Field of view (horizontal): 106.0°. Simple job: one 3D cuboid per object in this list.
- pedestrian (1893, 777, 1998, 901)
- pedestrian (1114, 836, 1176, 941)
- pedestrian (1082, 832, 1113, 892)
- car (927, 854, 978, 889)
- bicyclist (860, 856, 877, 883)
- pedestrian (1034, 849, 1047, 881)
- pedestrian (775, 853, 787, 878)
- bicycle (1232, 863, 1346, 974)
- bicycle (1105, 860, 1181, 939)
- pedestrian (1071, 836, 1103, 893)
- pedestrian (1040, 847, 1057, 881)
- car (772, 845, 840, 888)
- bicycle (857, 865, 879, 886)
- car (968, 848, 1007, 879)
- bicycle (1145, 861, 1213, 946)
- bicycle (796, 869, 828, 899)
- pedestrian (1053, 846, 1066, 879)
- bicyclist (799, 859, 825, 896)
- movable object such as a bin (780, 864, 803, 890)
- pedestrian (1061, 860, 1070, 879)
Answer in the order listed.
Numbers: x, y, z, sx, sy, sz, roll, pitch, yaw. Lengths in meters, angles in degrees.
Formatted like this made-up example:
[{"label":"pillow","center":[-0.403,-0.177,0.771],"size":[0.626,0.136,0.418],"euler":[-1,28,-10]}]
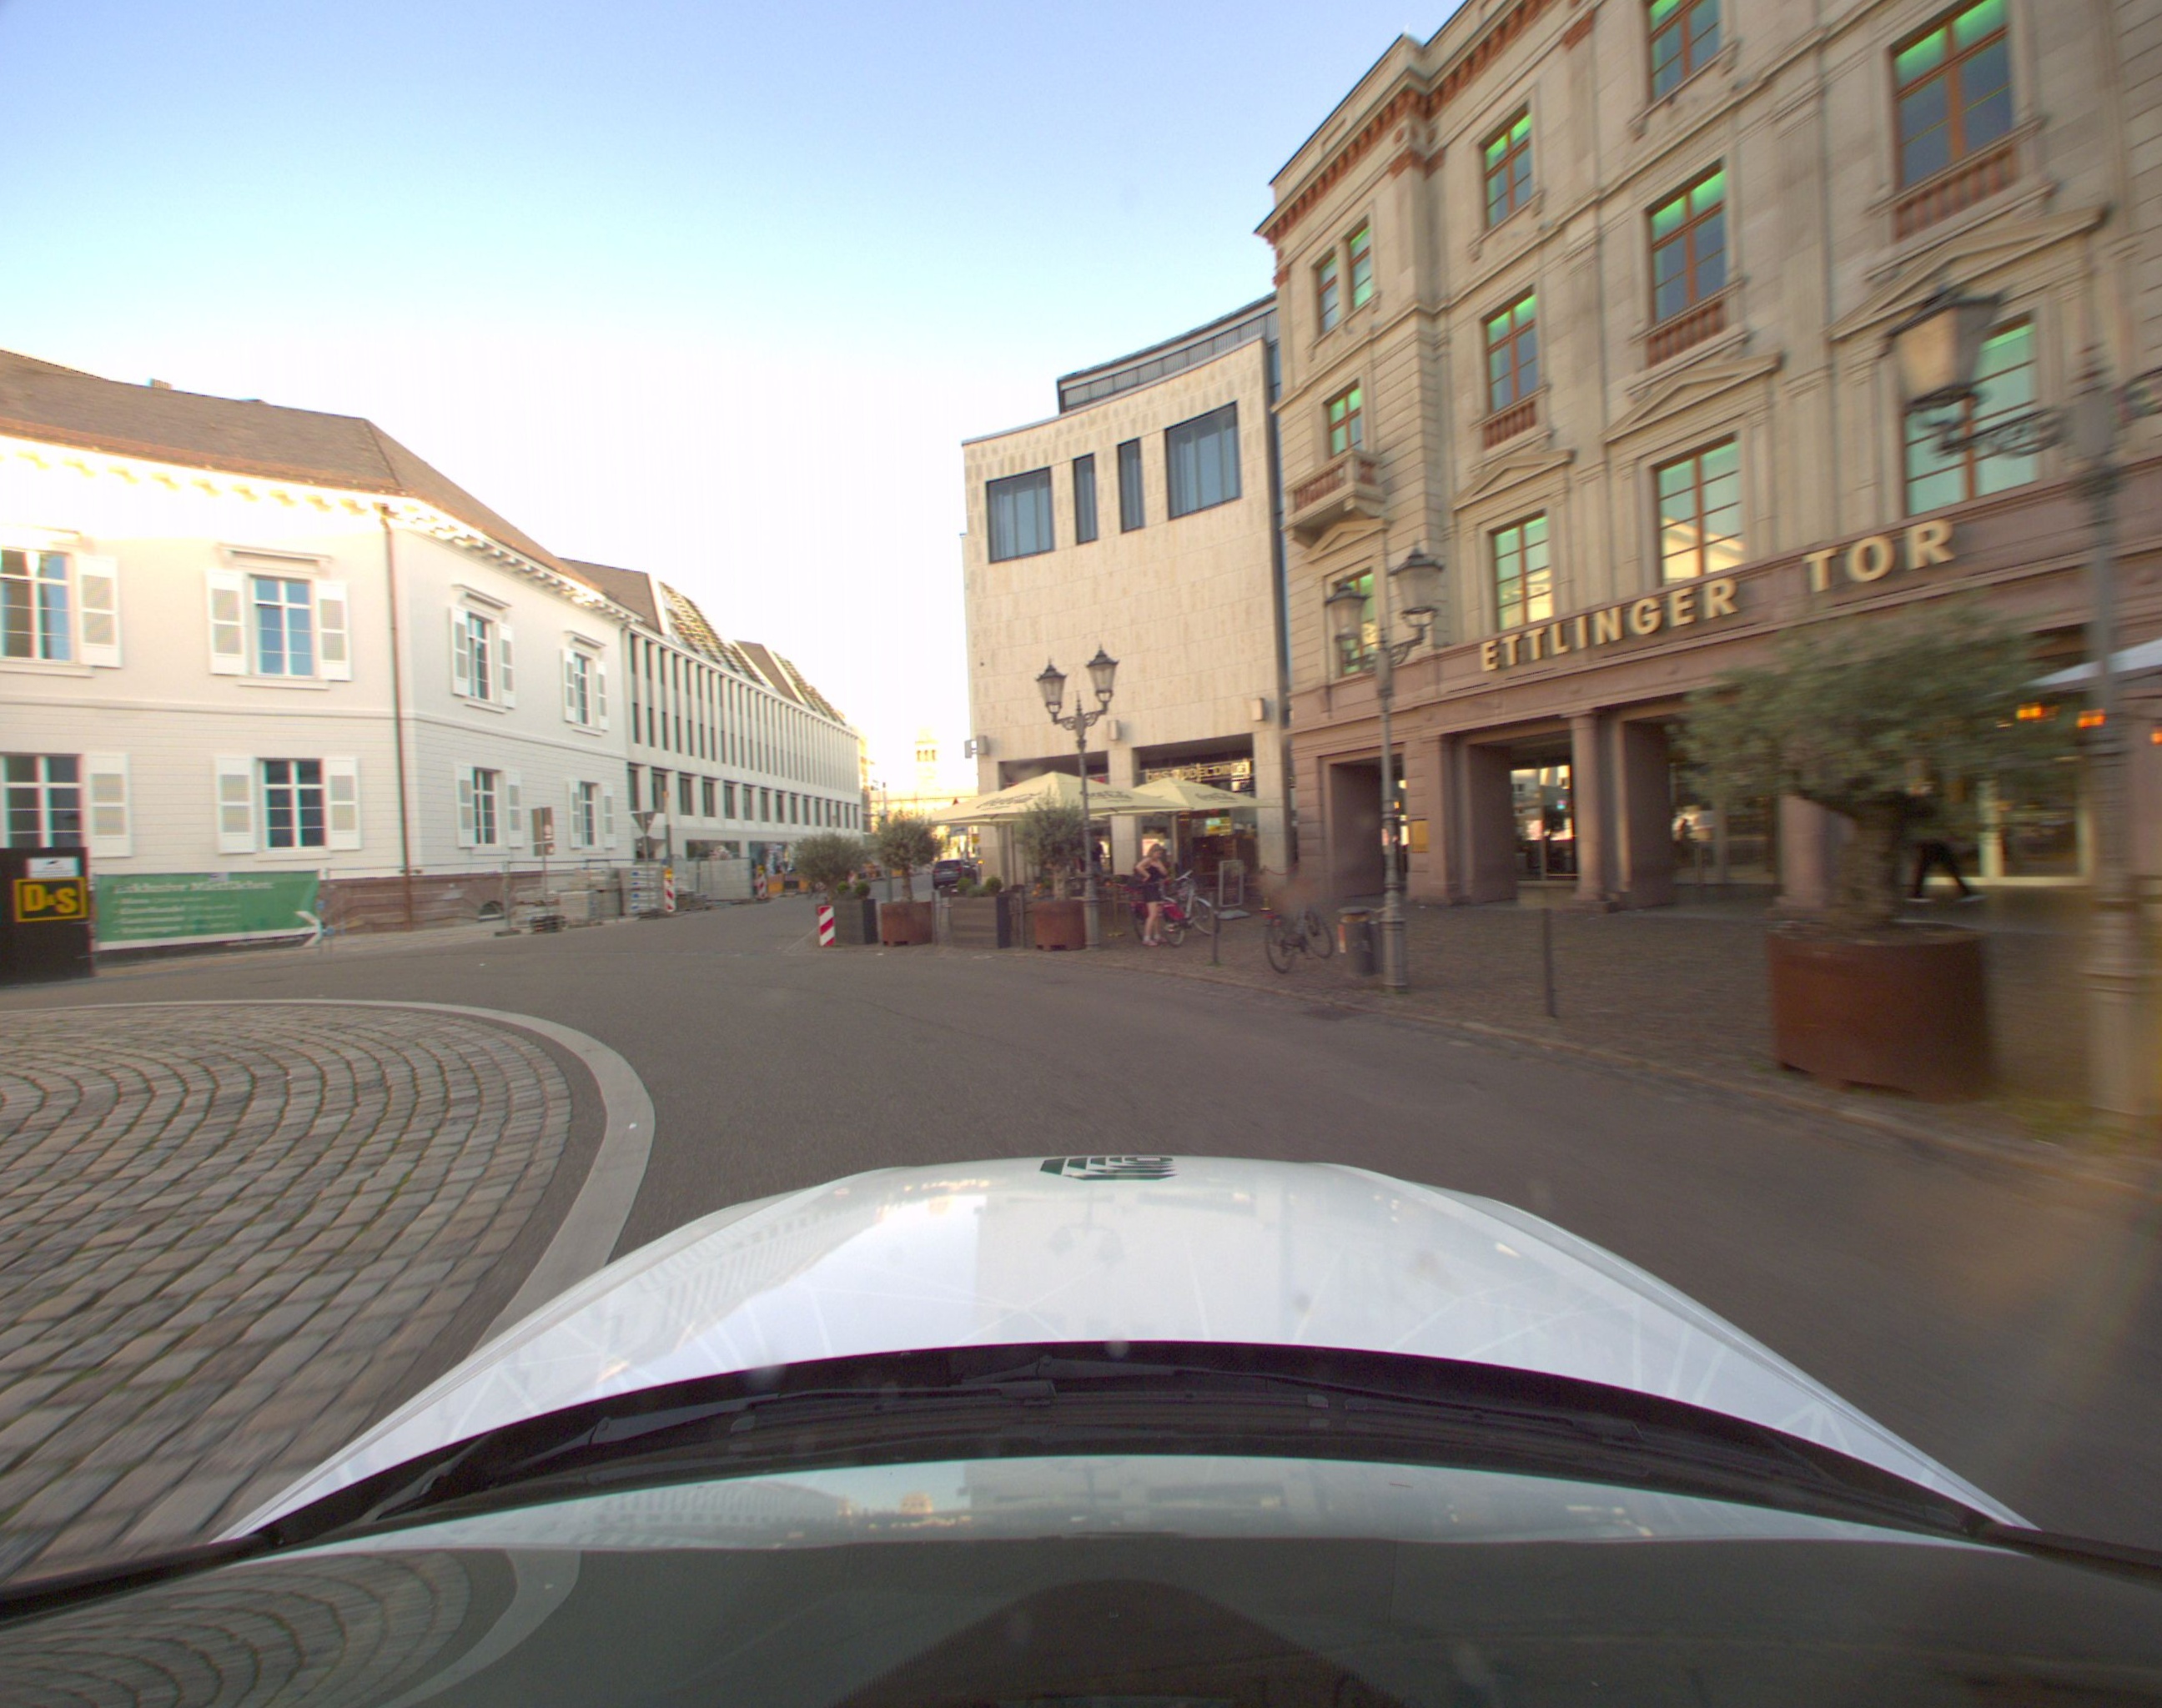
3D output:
[{"label":"pedestrian","center":[12.791,-0.221,12.065],"size":[0.718,1.747,0.864],"euler":[-3,0,-27]},{"label":"pedestrian","center":[1.013,0.528,12.783],"size":[0.741,1.588,0.718],"euler":[-3,0,17]},{"label":"pedestrian","center":[0.522,0.250,26.157],"size":[0.709,1.862,0.673],"euler":[-3,0,23]},{"label":"car","center":[-6.551,0.850,41.930],"size":[1.789,1.490,4.192],"euler":[-6,0,0]},{"label":"bicyclist","center":[-12.920,0.937,49.521],"size":[0.794,1.532,0.973],"euler":[-3,0,-3]},{"label":"pedestrian","center":[-2.223,0.597,44.893],"size":[0.589,1.698,0.695],"euler":[-3,0,-3]},{"label":"pedestrian","center":[-19.829,0.749,53.887],"size":[0.541,1.577,0.579],"euler":[-3,0,-3]},{"label":"bicycle","center":[2.677,0.761,10.321],"size":[0.599,1.128,1.919],"euler":[-2,3,39]},{"label":"bicycle","center":[1.091,0.742,13.881],"size":[0.600,1.128,1.918],"euler":[-3,2,25]},{"label":"pedestrian","center":[0.190,0.318,25.377],"size":[0.709,1.745,0.673],"euler":[-3,0,23]},{"label":"pedestrian","center":[-1.711,0.520,42.664],"size":[0.762,1.681,0.876],"euler":[-3,2,-1]},{"label":"car","center":[-17.498,0.746,52.216],"size":[2.166,2.470,5.999],"euler":[-3,0,0]},{"label":"bicycle","center":[-12.920,1.292,49.492],"size":[0.794,1.217,2.231],"euler":[-3,0,-3]},{"label":"car","center":[-5.724,0.566,50.449],"size":[1.763,1.637,4.057],"euler":[-6,0,0]},{"label":"bicycle","center":[1.595,0.744,12.975],"size":[0.600,1.128,1.916],"euler":[-3,2,20]},{"label":"bicycle","center":[-12.119,1.324,36.741],"size":[0.795,1.217,2.230],"euler":[-3,0,-5]},{"label":"pedestrian","center":[-1.187,0.482,45.459],"size":[0.632,1.773,0.775],"euler":[-3,2,-1]},{"label":"bicyclist","center":[-12.131,1.060,36.748],"size":[0.795,1.602,1.229],"euler":[-3,0,-5]},{"label":"movable object such as a bin","center":[-17.082,1.367,48.110],"size":[1.044,1.466,1.388],"euler":[-2,0,-12]},{"label":"pedestrian","center":[-0.830,0.811,43.203],"size":[0.418,0.985,0.526],"euler":[-3,2,-1]}]
